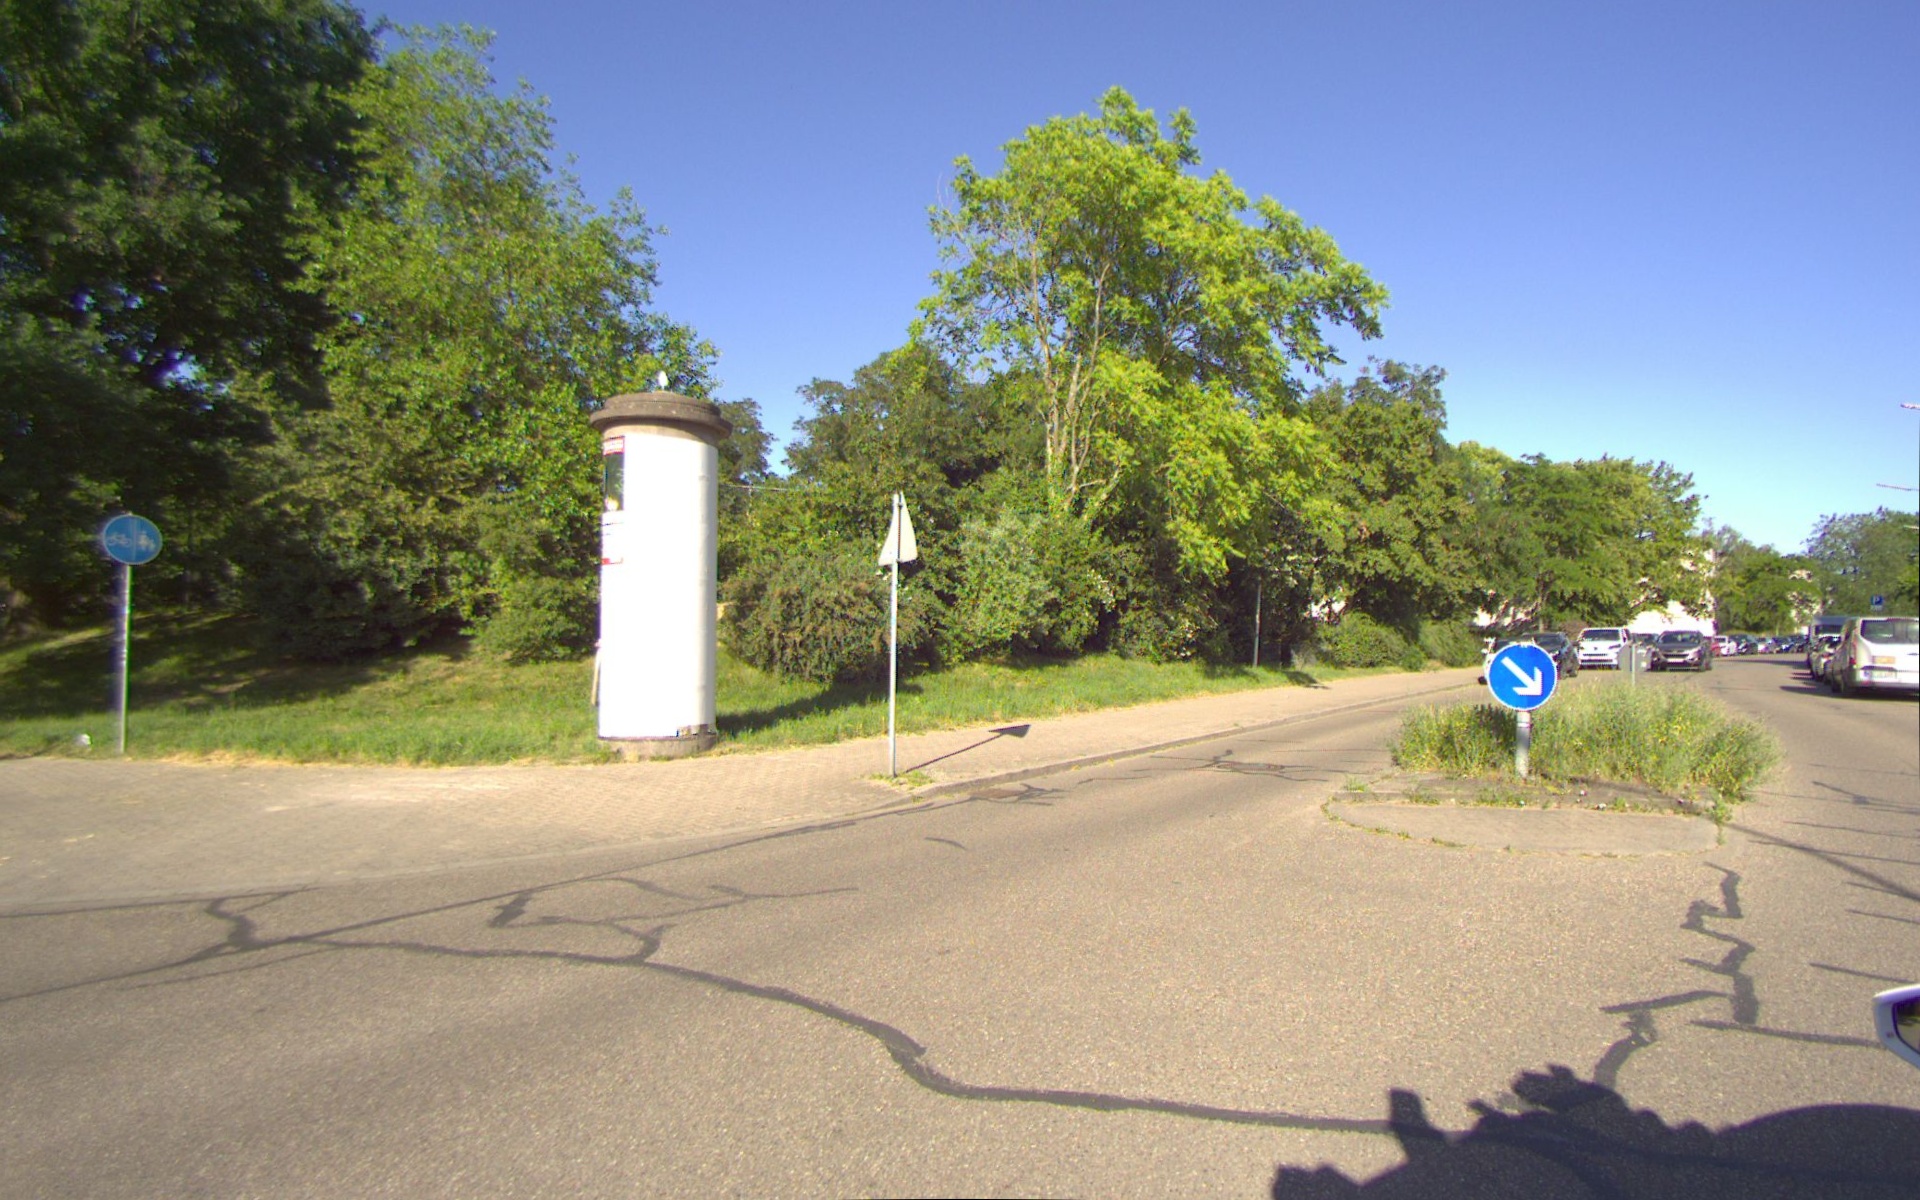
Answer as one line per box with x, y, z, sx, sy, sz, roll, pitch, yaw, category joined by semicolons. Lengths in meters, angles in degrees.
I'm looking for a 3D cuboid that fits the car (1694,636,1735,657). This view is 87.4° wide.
54.218;3.327;72.175;3.872;1.439;1.655;2;-4;-42;car

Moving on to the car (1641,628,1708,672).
29.751;2.061;41.775;1.891;1.727;4.165;-3;-3;40;car

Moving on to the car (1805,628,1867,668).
39.091;2.111;44.893;1.887;1.688;4.356;-2;-3;39;car

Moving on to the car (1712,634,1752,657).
58.788;3.446;76.485;4.374;1.688;1.655;2;-4;-42;car

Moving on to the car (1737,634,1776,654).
63.980;3.520;80.684;4.020;1.505;1.647;2;-4;-41;car

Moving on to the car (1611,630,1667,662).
36.877;2.474;54.508;4.334;1.639;1.731;2;-3;-45;car

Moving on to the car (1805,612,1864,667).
42.773;1.929;49.080;2.081;2.519;5.824;0;-2;42;car

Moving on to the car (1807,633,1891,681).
29.569;1.867;33.529;1.887;1.508;4.356;-2;-3;39;car

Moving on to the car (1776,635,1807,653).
72.364;3.816;87.435;3.790;1.445;1.644;2;-5;-44;car

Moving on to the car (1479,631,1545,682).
17.817;1.787;32.365;1.604;1.547;3.410;-2;-3;33;car

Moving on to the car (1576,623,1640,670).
29.416;2.082;45.544;1.842;1.987;4.649;-2;-3;40;car

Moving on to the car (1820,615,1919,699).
23.183;1.398;25.333;1.969;1.937;4.934;-2;-3;37;car

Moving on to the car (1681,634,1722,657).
50.266;3.091;68.052;3.654;1.493;1.654;2;-4;-45;car

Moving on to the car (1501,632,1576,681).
20.833;2.000;36.116;1.655;1.660;4.232;-3;-4;39;car

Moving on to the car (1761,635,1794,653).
68.286;3.674;83.883;4.022;1.445;1.644;2;-5;-44;car
